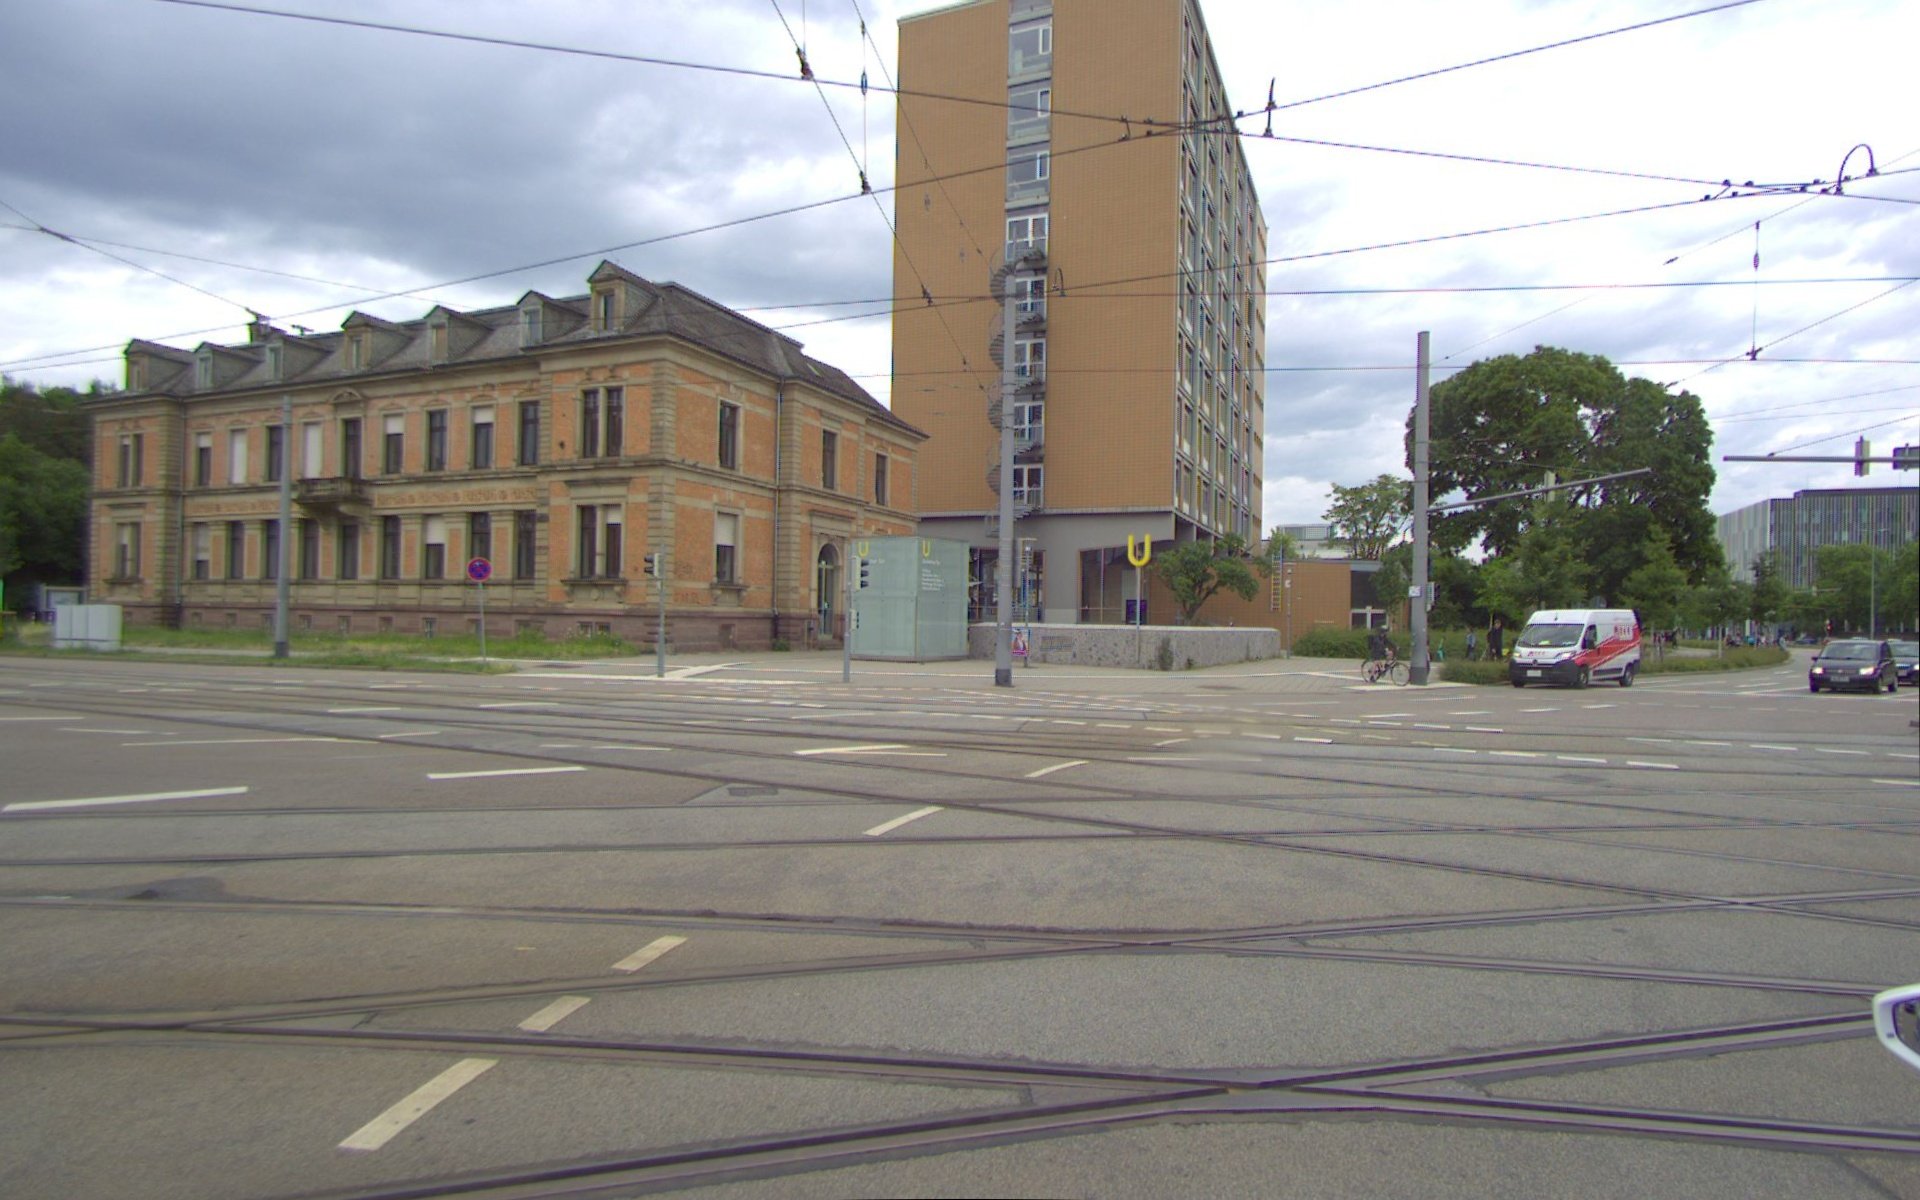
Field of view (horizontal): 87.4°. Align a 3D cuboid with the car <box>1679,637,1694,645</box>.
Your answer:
[{"bbox_3d":[133.749,7.537,184.934,1.685,1.282,3.337,0,-1,26],"label":"car"}]

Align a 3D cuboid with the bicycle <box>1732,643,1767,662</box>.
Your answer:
[{"bbox_3d":[50.586,3.348,64.347,1.874,1.174,0.789,1,-1,-13],"label":"bicycle"}]

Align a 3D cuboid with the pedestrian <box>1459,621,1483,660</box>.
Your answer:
[{"bbox_3d":[23.096,1.832,45.405,0.679,1.756,0.742,1,-1,-35],"label":"pedestrian"}]

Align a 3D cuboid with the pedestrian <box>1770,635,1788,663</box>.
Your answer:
[{"bbox_3d":[55.150,3.270,67.611,0.663,1.867,0.884,2,-1,-43],"label":"pedestrian"}]

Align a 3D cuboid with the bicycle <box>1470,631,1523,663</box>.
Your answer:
[{"bbox_3d":[24.975,2.181,46.734,2.217,1.468,0.847,1,-1,-16],"label":"bicycle"}]

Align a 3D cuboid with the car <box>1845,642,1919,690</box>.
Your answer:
[{"bbox_3d":[31.779,2.211,34.127,4.442,1.527,1.855,2,-4,-40],"label":"car"}]

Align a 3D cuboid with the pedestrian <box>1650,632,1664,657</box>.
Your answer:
[{"bbox_3d":[43.660,2.790,62.907,0.750,1.562,0.556,2,-1,-44],"label":"pedestrian"}]

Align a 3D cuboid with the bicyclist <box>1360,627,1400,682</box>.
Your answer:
[{"bbox_3d":[13.137,1.694,31.405,0.785,1.679,0.808,1,1,-31],"label":"bicyclist"}]

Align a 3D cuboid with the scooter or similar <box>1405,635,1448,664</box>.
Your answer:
[{"bbox_3d":[21.926,2.325,47.204,1.748,1.319,0.627,0,-1,38],"label":"scooter or similar"}]

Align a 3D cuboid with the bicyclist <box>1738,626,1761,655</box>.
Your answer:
[{"bbox_3d":[50.587,2.592,64.362,0.819,1.868,0.790,1,-1,-14],"label":"bicyclist"}]

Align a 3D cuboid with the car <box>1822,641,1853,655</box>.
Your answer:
[{"bbox_3d":[107.367,5.845,122.946,1.964,1.704,4.005,0,-1,28],"label":"car"}]

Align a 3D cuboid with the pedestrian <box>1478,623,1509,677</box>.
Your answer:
[{"bbox_3d":[20.335,1.885,38.289,0.652,2.007,0.813,1,-1,-35],"label":"pedestrian"}]

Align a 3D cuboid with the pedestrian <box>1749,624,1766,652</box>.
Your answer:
[{"bbox_3d":[52.273,2.493,65.824,0.761,1.866,0.750,2,-2,-43],"label":"pedestrian"}]

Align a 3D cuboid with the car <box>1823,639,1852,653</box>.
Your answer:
[{"bbox_3d":[114.332,5.948,130.948,1.963,1.773,3.995,0,-1,28],"label":"car"}]

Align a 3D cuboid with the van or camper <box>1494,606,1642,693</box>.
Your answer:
[{"bbox_3d":[19.544,1.566,32.189,5.523,2.561,2.262,2,-2,-38],"label":"van or camper"}]

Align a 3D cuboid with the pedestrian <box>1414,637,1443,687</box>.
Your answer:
[{"bbox_3d":[15.083,1.998,32.321,0.742,1.572,0.574,1,-1,-36],"label":"pedestrian"}]

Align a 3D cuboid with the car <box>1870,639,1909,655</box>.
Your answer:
[{"bbox_3d":[105.537,5.326,114.079,1.961,1.773,3.999,1,-1,22],"label":"car"}]

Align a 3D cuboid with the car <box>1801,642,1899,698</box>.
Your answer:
[{"bbox_3d":[26.126,1.998,29.458,3.635,1.535,1.605,2,-2,-40],"label":"car"}]

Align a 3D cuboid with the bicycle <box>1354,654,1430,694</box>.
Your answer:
[{"bbox_3d":[13.326,2.250,31.031,0.786,1.042,2.102,-2,1,-31],"label":"bicycle"}]
